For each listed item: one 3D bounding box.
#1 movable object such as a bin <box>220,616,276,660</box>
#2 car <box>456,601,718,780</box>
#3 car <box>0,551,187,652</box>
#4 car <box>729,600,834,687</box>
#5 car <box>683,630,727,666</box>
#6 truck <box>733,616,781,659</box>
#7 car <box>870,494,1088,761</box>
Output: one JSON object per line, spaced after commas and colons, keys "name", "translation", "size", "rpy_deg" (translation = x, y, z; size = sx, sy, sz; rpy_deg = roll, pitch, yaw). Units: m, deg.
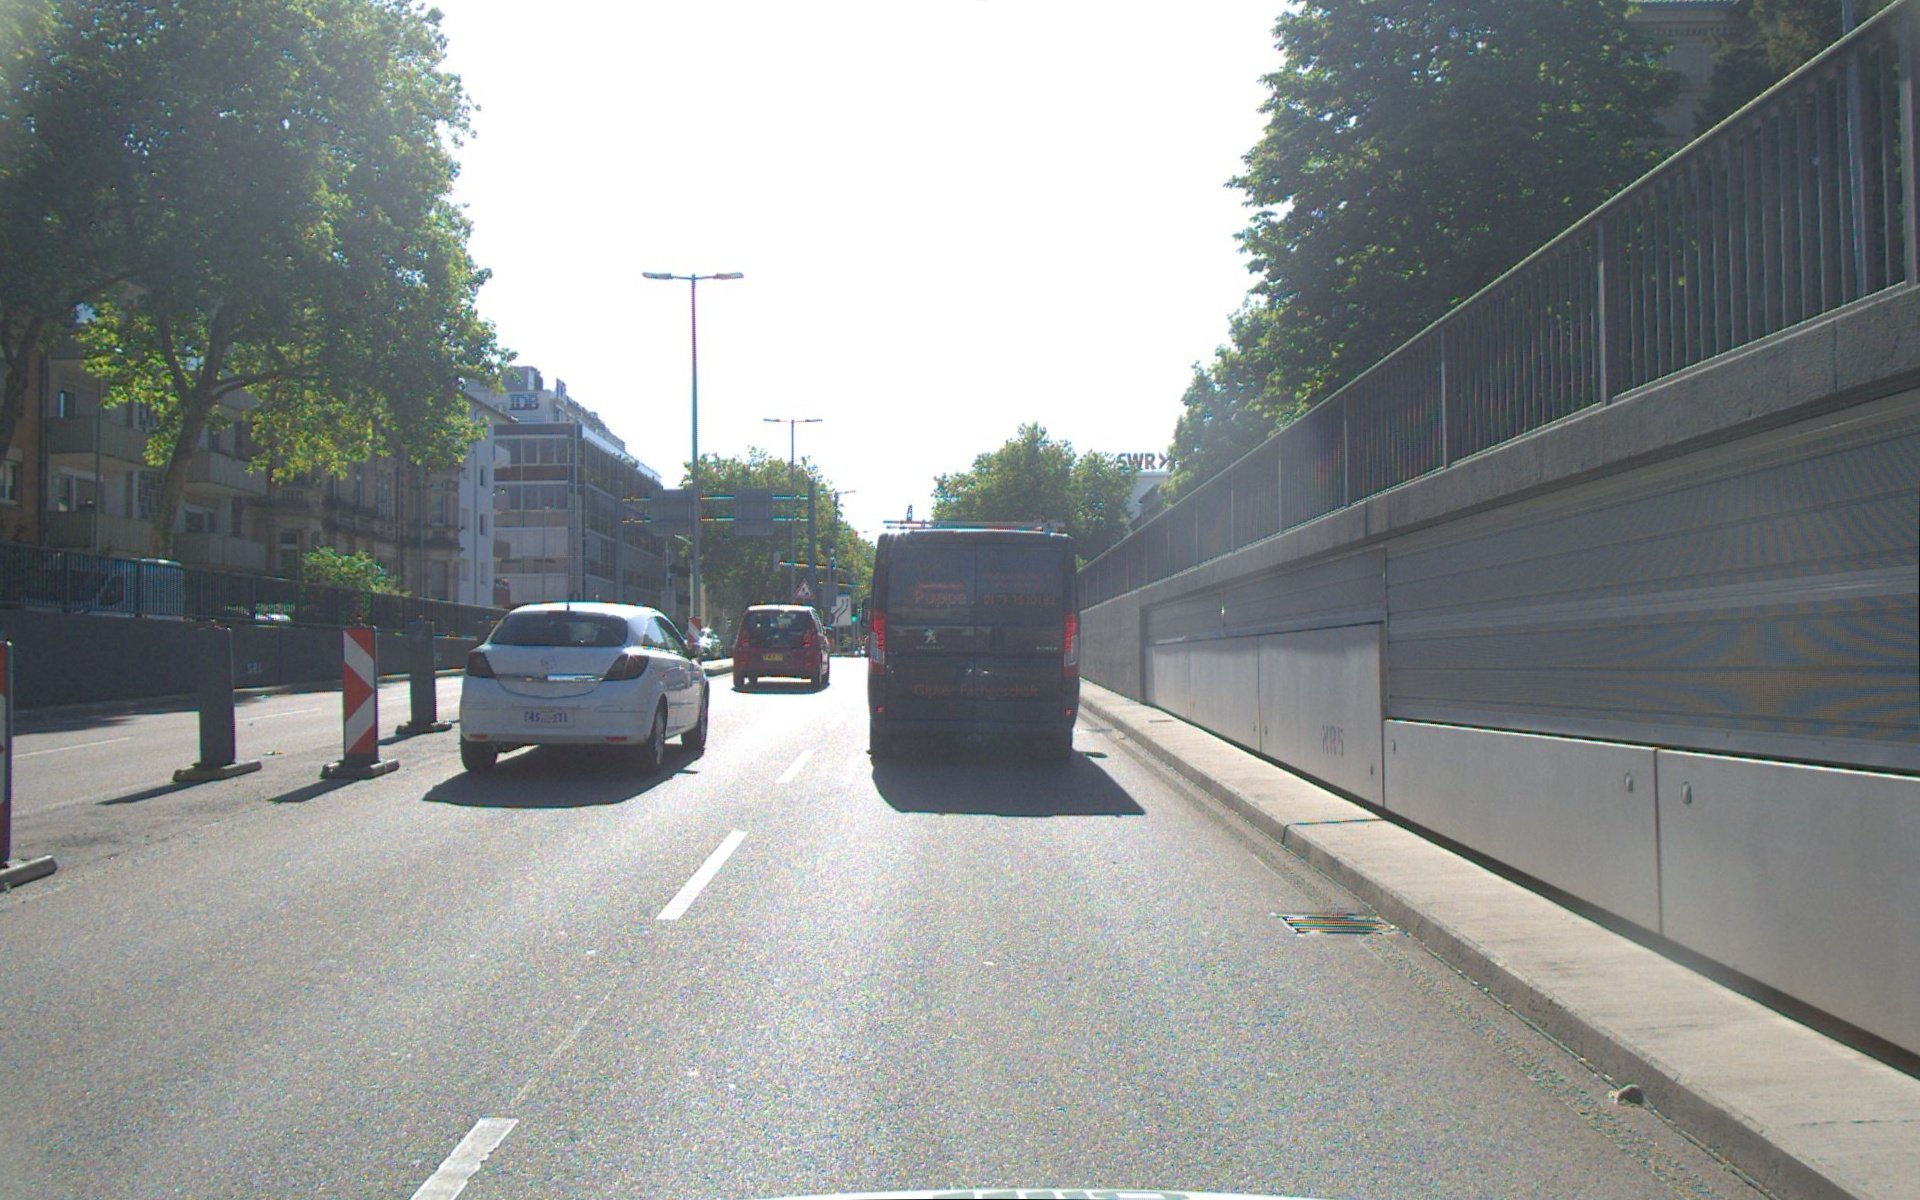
{"name": "movable object such as a bin", "translation": [-23.515, 1.246, 54.655], "size": [1.253, 1.427, 1.301], "rpy_deg": [1, -2, -1]}
{"name": "car", "translation": [-3.290, 0.743, 15.273], "size": [1.586, 1.428, 3.851], "rpy_deg": [1, 0, -1]}
{"name": "car", "translation": [-22.054, 0.114, 42.320], "size": [1.953, 2.401, 5.418], "rpy_deg": [1, -2, 0]}
{"name": "car", "translation": [-3.284, 0.781, 30.891], "size": [1.655, 1.509, 3.317], "rpy_deg": [1, -1, -1]}
{"name": "car", "translation": [-11.884, 2.221, 77.171], "size": [1.508, 1.490, 3.716], "rpy_deg": [-3, -1, -2]}
{"name": "truck", "translation": [-12.867, 2.378, 105.014], "size": [2.183, 2.572, 6.128], "rpy_deg": [-2, -2, 0]}
{"name": "car", "translation": [0.145, 0.299, 17.141], "size": [1.989, 2.445, 3.971], "rpy_deg": [0, -2, -1]}
